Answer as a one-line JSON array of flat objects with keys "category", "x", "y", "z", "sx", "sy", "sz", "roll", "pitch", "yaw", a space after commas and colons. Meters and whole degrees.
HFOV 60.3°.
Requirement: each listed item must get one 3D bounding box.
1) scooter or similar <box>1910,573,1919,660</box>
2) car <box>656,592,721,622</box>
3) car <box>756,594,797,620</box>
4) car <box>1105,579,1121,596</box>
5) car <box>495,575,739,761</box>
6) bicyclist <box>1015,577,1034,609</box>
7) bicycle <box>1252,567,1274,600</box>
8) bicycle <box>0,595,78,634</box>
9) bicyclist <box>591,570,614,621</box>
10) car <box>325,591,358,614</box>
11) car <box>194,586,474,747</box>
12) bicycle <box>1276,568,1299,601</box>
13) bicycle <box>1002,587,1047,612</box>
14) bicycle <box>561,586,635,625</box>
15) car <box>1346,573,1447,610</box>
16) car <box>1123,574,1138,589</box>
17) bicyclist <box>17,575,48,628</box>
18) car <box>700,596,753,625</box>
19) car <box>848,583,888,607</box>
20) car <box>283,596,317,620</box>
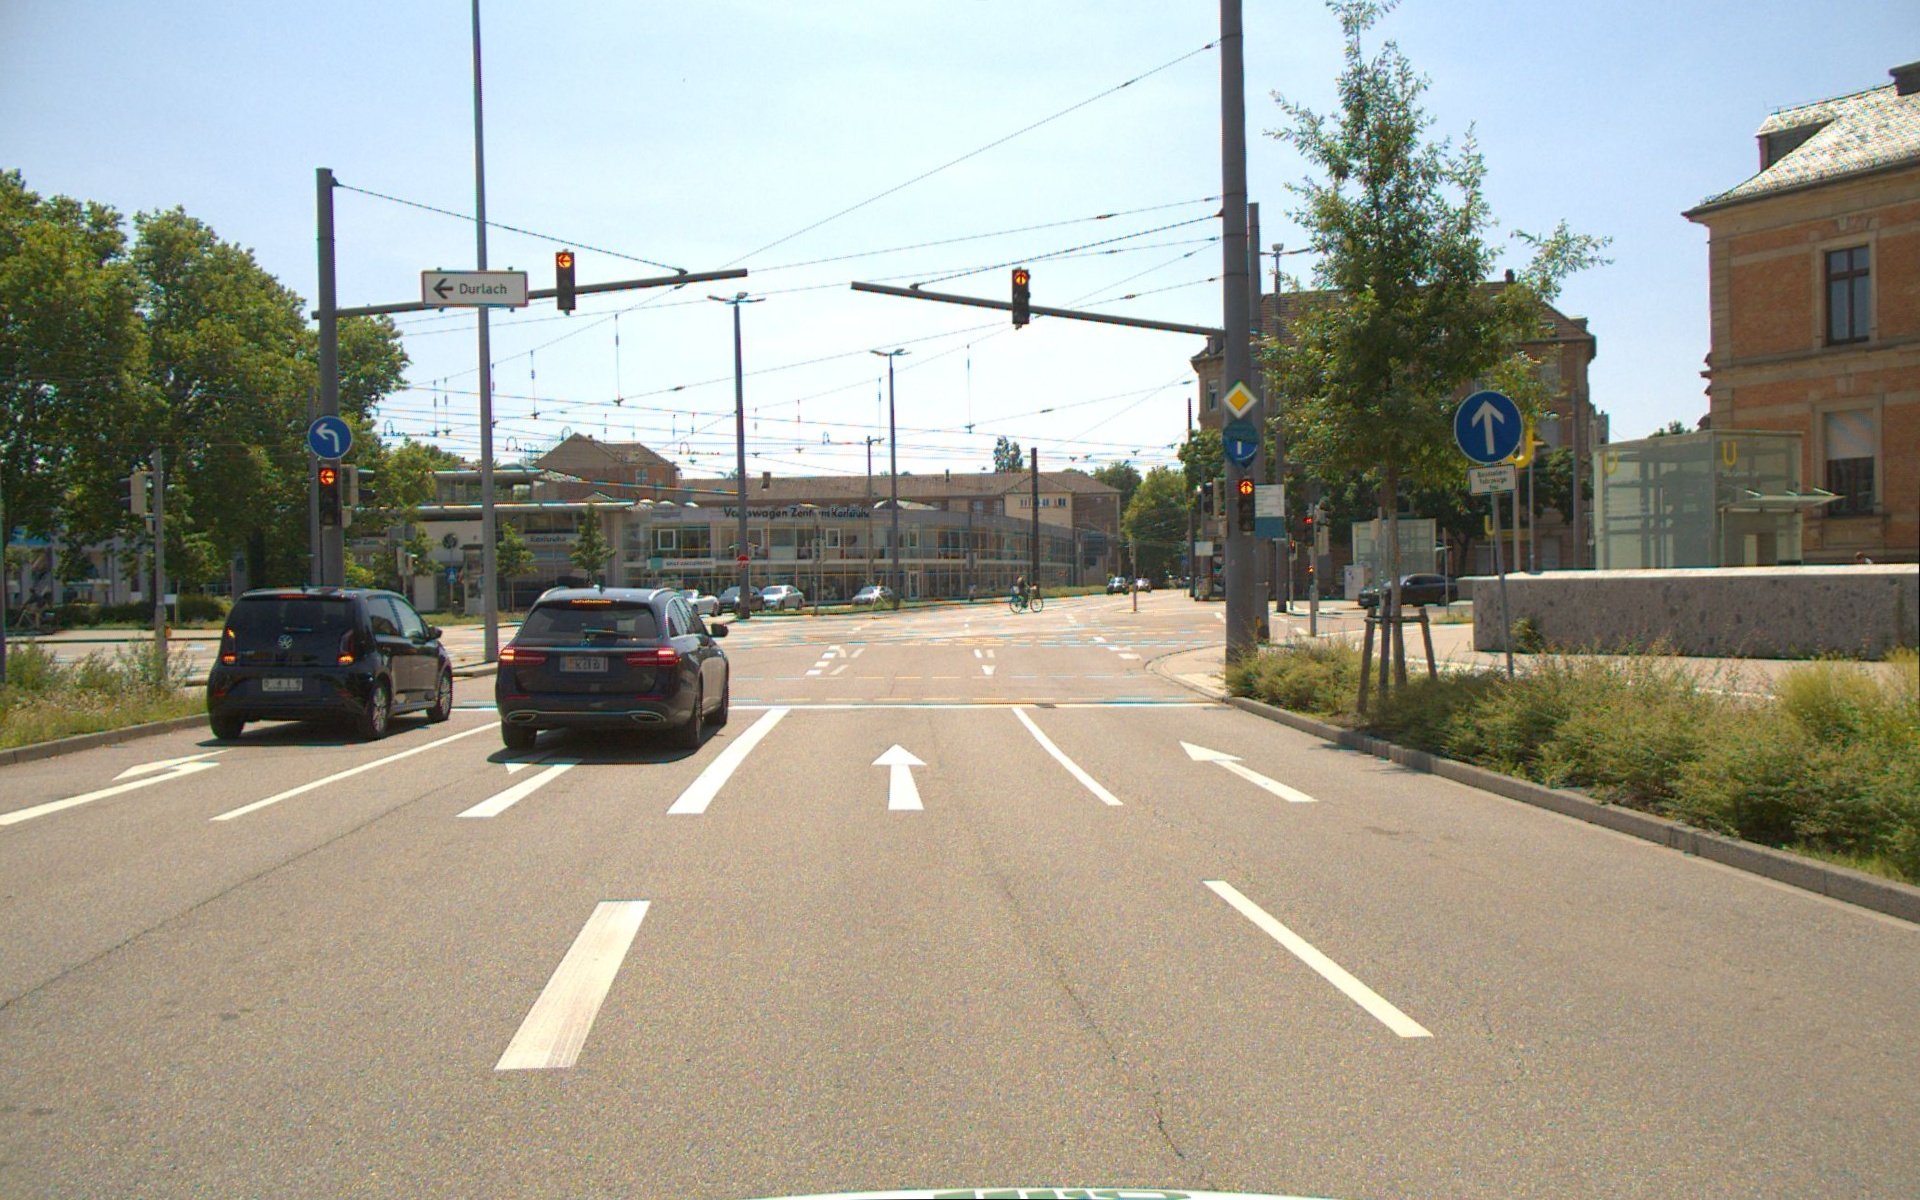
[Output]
[{"category": "scooter or similar", "x": 13.541, "y": 0.247, "z": 22.300, "sx": 0.391, "sy": 1.187, "sz": 1.280, "roll": -1, "pitch": 2, "yaw": -24}, {"category": "car", "x": -13.140, "y": 0.324, "z": 80.290, "sx": 1.585, "sy": 1.414, "sz": 4.128, "roll": -1, "pitch": 0, "yaw": 14}, {"category": "car", "x": -10.262, "y": 0.387, "z": 92.498, "sx": 1.401, "sy": 1.308, "sz": 3.265, "roll": 0, "pitch": 2, "yaw": 10}, {"category": "car", "x": 14.775, "y": -1.200, "z": 159.783, "sx": 1.498, "sy": 1.484, "sz": 3.555, "roll": 0, "pitch": 2, "yaw": 5}, {"category": "car", "x": -3.290, "y": 0.580, "z": 16.684, "sx": 1.682, "sy": 1.584, "sz": 4.584, "roll": -1, "pitch": 0, "yaw": -3}, {"category": "bicyclist", "x": 3.074, "y": -0.324, "z": 78.735, "sx": 0.721, "sy": 1.505, "sz": 0.652, "roll": -1, "pitch": 2, "yaw": -21}, {"category": "bicycle", "x": 17.815, "y": -0.990, "z": 97.204, "sx": 0.599, "sy": 1.819, "sz": 3.181, "roll": 0, "pitch": 2, "yaw": -2}, {"category": "bicycle", "x": -35.463, "y": 0.556, "z": 63.487, "sx": 2.724, "sy": 1.409, "sz": 0.669, "roll": -1, "pitch": 2, "yaw": -10}, {"category": "bicyclist", "x": -13.959, "y": -0.181, "z": 64.575, "sx": 0.748, "sy": 1.971, "sz": 0.659, "roll": 0, "pitch": 2, "yaw": -4}, {"category": "car", "x": -43.416, "y": 0.143, "z": 116.171, "sx": 1.481, "sy": 1.443, "sz": 3.415, "roll": 0, "pitch": 2, "yaw": -8}, {"category": "car", "x": -6.473, "y": 0.619, "z": 17.563, "sx": 1.588, "sy": 1.489, "sz": 3.998, "roll": -1, "pitch": 0, "yaw": -3}, {"category": "bicycle", "x": 19.222, "y": -0.916, "z": 97.187, "sx": 0.599, "sy": 1.819, "sz": 3.181, "roll": 0, "pitch": 2, "yaw": -2}, {"category": "bicycle", "x": 3.073, "y": -0.019, "z": 78.739, "sx": 2.129, "sy": 1.126, "sz": 0.454, "roll": -1, "pitch": 2, "yaw": -21}, {"category": "bicycle", "x": -14.122, "y": 0.202, "z": 64.561, "sx": 2.770, "sy": 1.488, "sz": 0.633, "roll": 0, "pitch": 2, "yaw": -5}, {"category": "car", "x": 18.919, "y": -0.379, "z": 71.673, "sx": 4.044, "sy": 1.476, "sz": 1.687, "roll": -1, "pitch": 2, "yaw": -22}, {"category": "car", "x": 18.958, "y": -2.022, "z": 183.794, "sx": 1.552, "sy": 1.555, "sz": 3.718, "roll": 0, "pitch": 2, "yaw": 4}, {"category": "bicyclist", "x": -35.555, "y": 0.070, "z": 63.438, "sx": 0.830, "sy": 1.999, "sz": 0.625, "roll": 0, "pitch": 2, "yaw": -10}, {"category": "car", "x": -12.174, "y": 0.538, "z": 86.410, "sx": 1.505, "sy": 1.300, "sz": 3.542, "roll": 0, "pitch": 2, "yaw": 14}, {"category": "car", "x": -5.985, "y": -0.349, "z": 107.962, "sx": 1.537, "sy": 1.452, "sz": 3.617, "roll": 0, "pitch": 2, "yaw": 15}, {"category": "car", "x": -46.264, "y": 0.531, "z": 115.952, "sx": 1.398, "sy": 1.534, "sz": 3.432, "roll": 0, "pitch": 2, "yaw": -8}]
